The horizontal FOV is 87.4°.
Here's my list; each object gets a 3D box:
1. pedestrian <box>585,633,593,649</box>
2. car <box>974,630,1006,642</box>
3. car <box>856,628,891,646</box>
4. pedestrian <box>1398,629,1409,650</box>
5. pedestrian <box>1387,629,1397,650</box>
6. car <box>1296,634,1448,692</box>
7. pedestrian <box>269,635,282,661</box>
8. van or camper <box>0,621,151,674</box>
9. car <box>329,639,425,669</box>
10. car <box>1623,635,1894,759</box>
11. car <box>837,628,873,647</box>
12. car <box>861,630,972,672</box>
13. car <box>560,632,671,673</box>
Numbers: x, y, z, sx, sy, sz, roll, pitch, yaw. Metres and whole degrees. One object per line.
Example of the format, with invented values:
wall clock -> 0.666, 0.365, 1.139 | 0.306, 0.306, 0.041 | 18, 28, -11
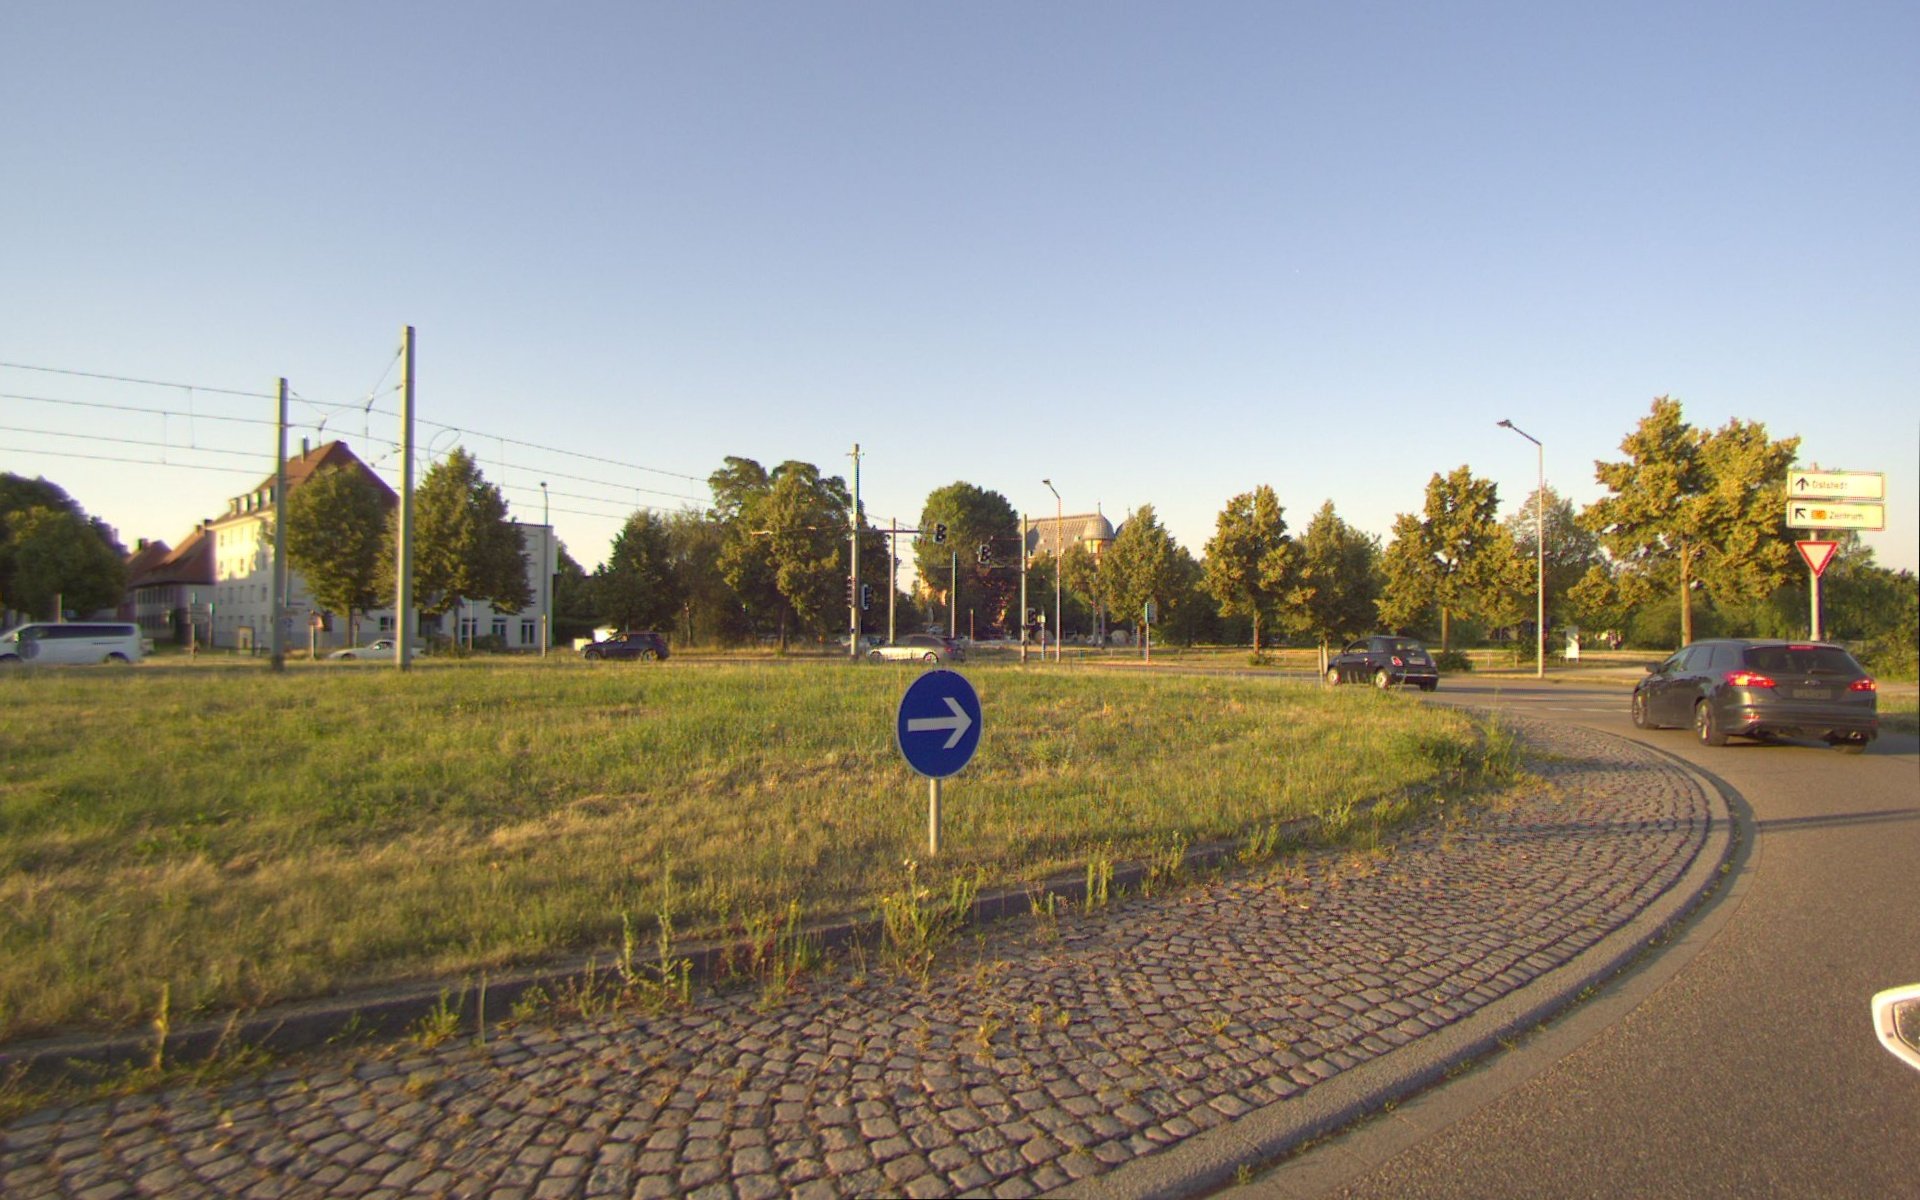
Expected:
pedestrian -> -32.313, 3.585, 87.415 | 0.352, 1.392, 0.546 | 0, -2, 36
car -> 4.091, 4.918, 136.474 | 3.939, 1.571, 1.991 | -1, -2, 40
car -> -10.235, 4.412, 119.128 | 3.941, 2.126, 1.990 | -1, -2, 41
pedestrian -> 34.496, 3.087, 78.076 | 0.608, 1.648, 0.530 | 1, -1, -2
pedestrian -> 34.158, 3.114, 79.361 | 0.569, 1.648, 0.533 | 0, -1, 4
car -> 11.600, 1.733, 28.581 | 1.725, 1.465, 4.117 | 0, -1, -19
pedestrian -> -45.097, 3.157, 66.181 | 0.557, 1.643, 0.592 | -1, -1, 37
van or camper -> -37.074, 1.908, 41.639 | 1.887, 2.036, 5.276 | -1, -1, 40
car -> -26.848, 2.472, 46.357 | 3.736, 1.272, 1.567 | 1, 0, -30
car -> 11.311, 1.276, 14.610 | 1.717, 1.486, 4.136 | -1, -1, 18
car -> -12.229, 4.371, 117.043 | 3.941, 2.126, 1.990 | -1, -2, 41
car -> -1.904, 2.181, 43.811 | 4.508, 1.771, 1.751 | -1, -1, 21
car -> -15.548, 2.346, 45.533 | 4.516, 1.771, 1.748 | 0, -1, -12
